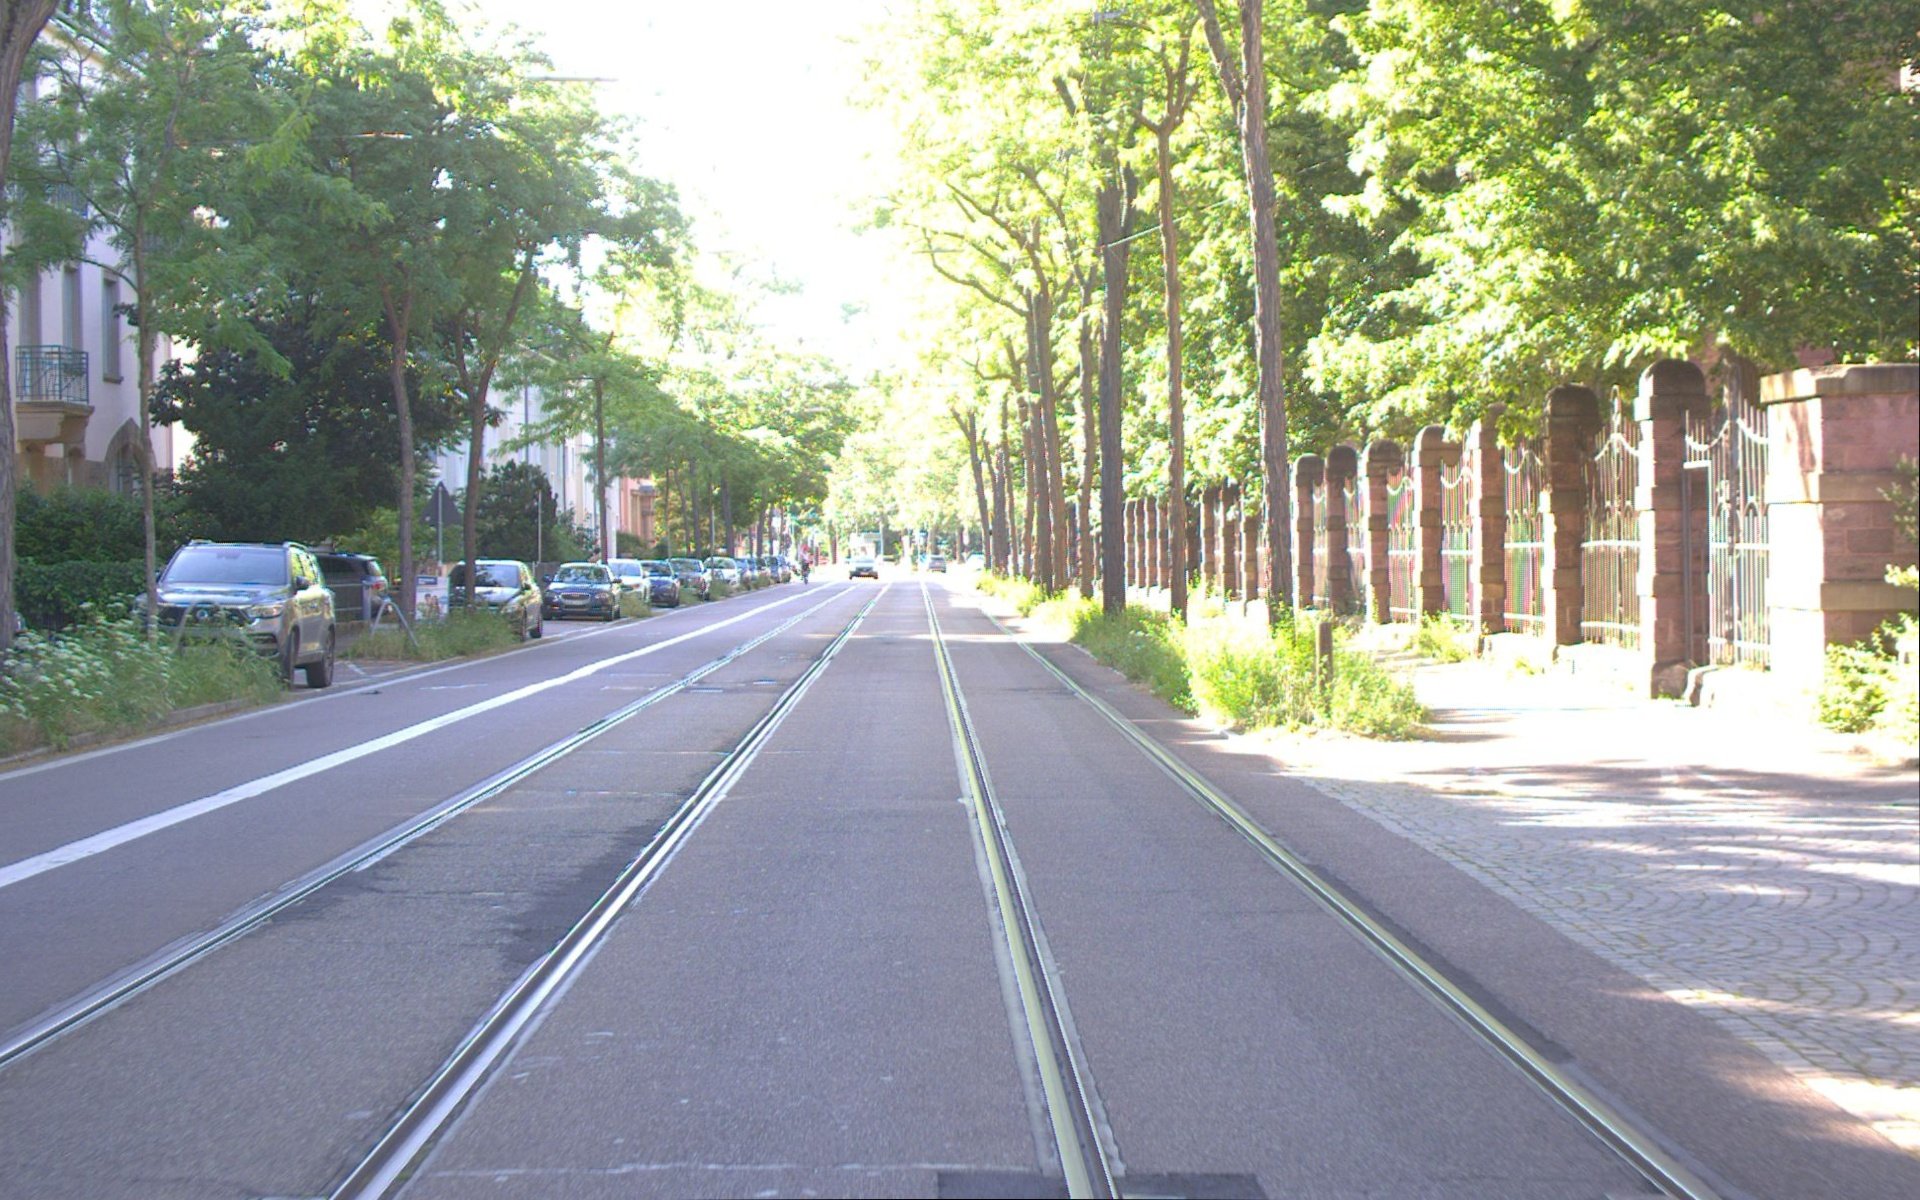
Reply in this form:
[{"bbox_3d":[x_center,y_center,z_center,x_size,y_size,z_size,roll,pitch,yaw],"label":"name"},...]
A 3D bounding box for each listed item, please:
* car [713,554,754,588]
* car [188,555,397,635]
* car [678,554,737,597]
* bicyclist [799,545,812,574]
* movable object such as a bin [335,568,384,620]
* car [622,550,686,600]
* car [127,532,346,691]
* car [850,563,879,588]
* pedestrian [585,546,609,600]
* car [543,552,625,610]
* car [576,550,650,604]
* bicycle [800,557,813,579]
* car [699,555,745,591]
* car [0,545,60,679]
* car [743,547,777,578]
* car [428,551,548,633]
[{"bbox_3d":[-10.252,-1.323,155.816,1.687,1.480,3.760,2,1,-2],"label":"car"},{"bbox_3d":[-14.433,-0.123,74.477,4.165,1.653,1.984,1,1,-2],"label":"car"},{"bbox_3d":[-8.947,-0.881,122.015,1.817,1.480,4.206,1,1,-1],"label":"car"},{"bbox_3d":[-8.801,-2.312,196.369,0.626,1.633,0.940,-3,1,-1],"label":"bicyclist"},{"bbox_3d":[-12.492,-0.125,71.540,0.875,1.062,0.814,0,1,0],"label":"movable object such as a bin"},{"bbox_3d":[-9.680,-0.813,108.940,1.757,1.506,4.439,1,1,-2],"label":"car"},{"bbox_3d":[-8.787,0.100,42.095,1.870,1.816,4.772,0,1,-3],"label":"car"},{"bbox_3d":[-5.801,-1.487,208.236,1.757,1.434,4.524,0,1,-2],"label":"car"},{"bbox_3d":[-12.198,-0.909,115.591,0.691,1.795,0.813,-1,1,-1],"label":"pedestrian"},{"bbox_3d":[-9.477,-0.496,86.909,1.705,1.401,4.334,1,1,-2],"label":"car"},{"bbox_3d":[-9.931,-0.672,98.691,1.817,1.506,4.371,1,1,-2],"label":"car"},{"bbox_3d":[-8.777,-1.827,196.453,0.626,1.173,1.913,-3,1,-1],"label":"bicycle"},{"bbox_3d":[-10.246,-1.174,148.117,1.702,1.480,4.079,2,1,-1],"label":"car"},{"bbox_3d":[-13.875,0.101,43.720,4.300,1.655,1.953,1,1,1],"label":"car"},{"bbox_3d":[-9.638,-1.822,165.932,1.560,1.452,3.931,2,1,-3],"label":"car"},{"bbox_3d":[-9.307,-0.182,68.059,1.776,1.536,4.486,1,1,-1],"label":"car"}]
